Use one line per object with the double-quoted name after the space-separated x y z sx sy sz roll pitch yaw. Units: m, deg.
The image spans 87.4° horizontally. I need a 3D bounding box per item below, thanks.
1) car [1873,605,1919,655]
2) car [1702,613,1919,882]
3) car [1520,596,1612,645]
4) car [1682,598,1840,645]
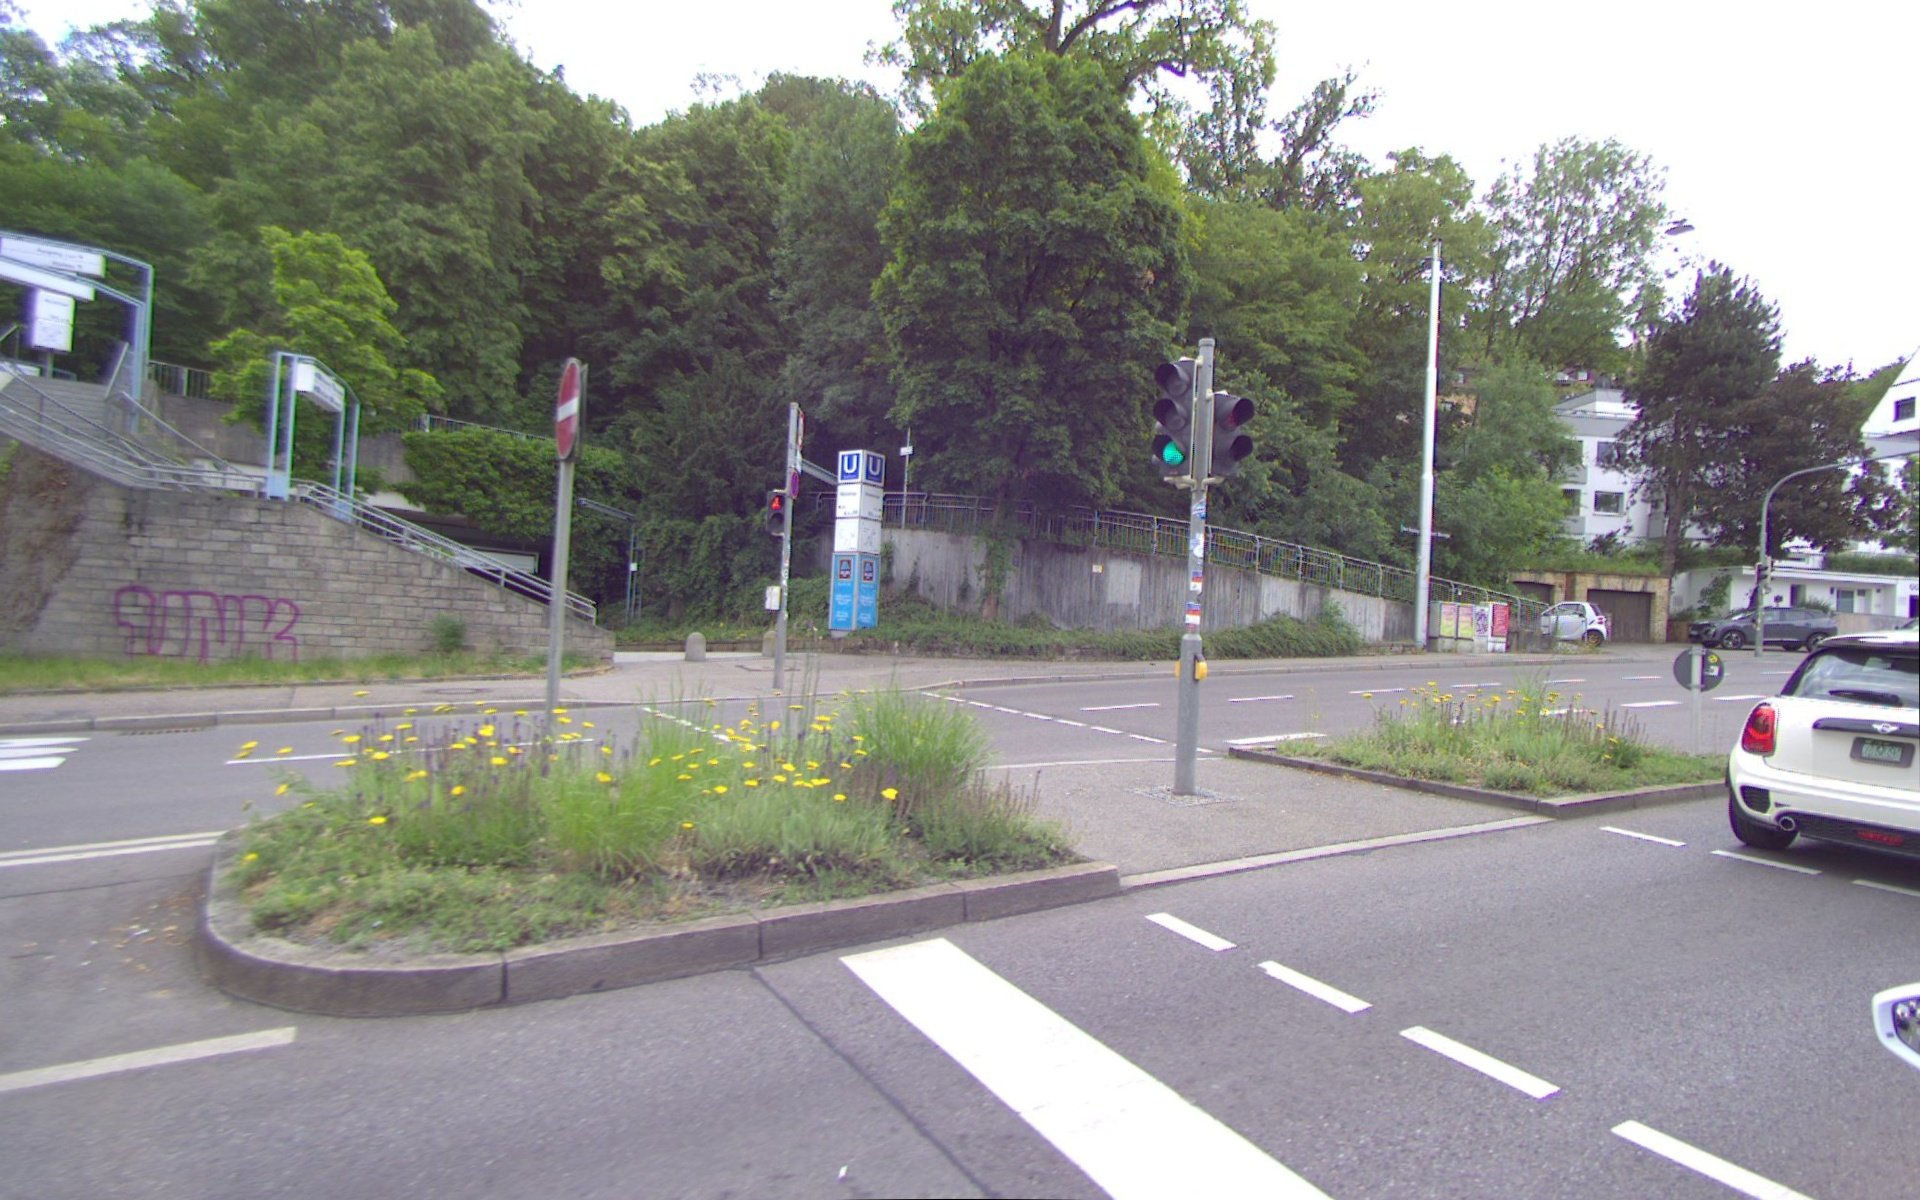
30.564 0.927 31.154 4.503 1.468 1.646 1 1 -24 "car"
6.523 0.800 6.307 3.520 1.412 1.622 1 -1 -27 "car"
21.728 0.701 36.045 2.666 1.540 1.559 4 2 35 "car"
28.241 0.729 35.540 4.050 1.560 1.599 1 0 16 "car"
